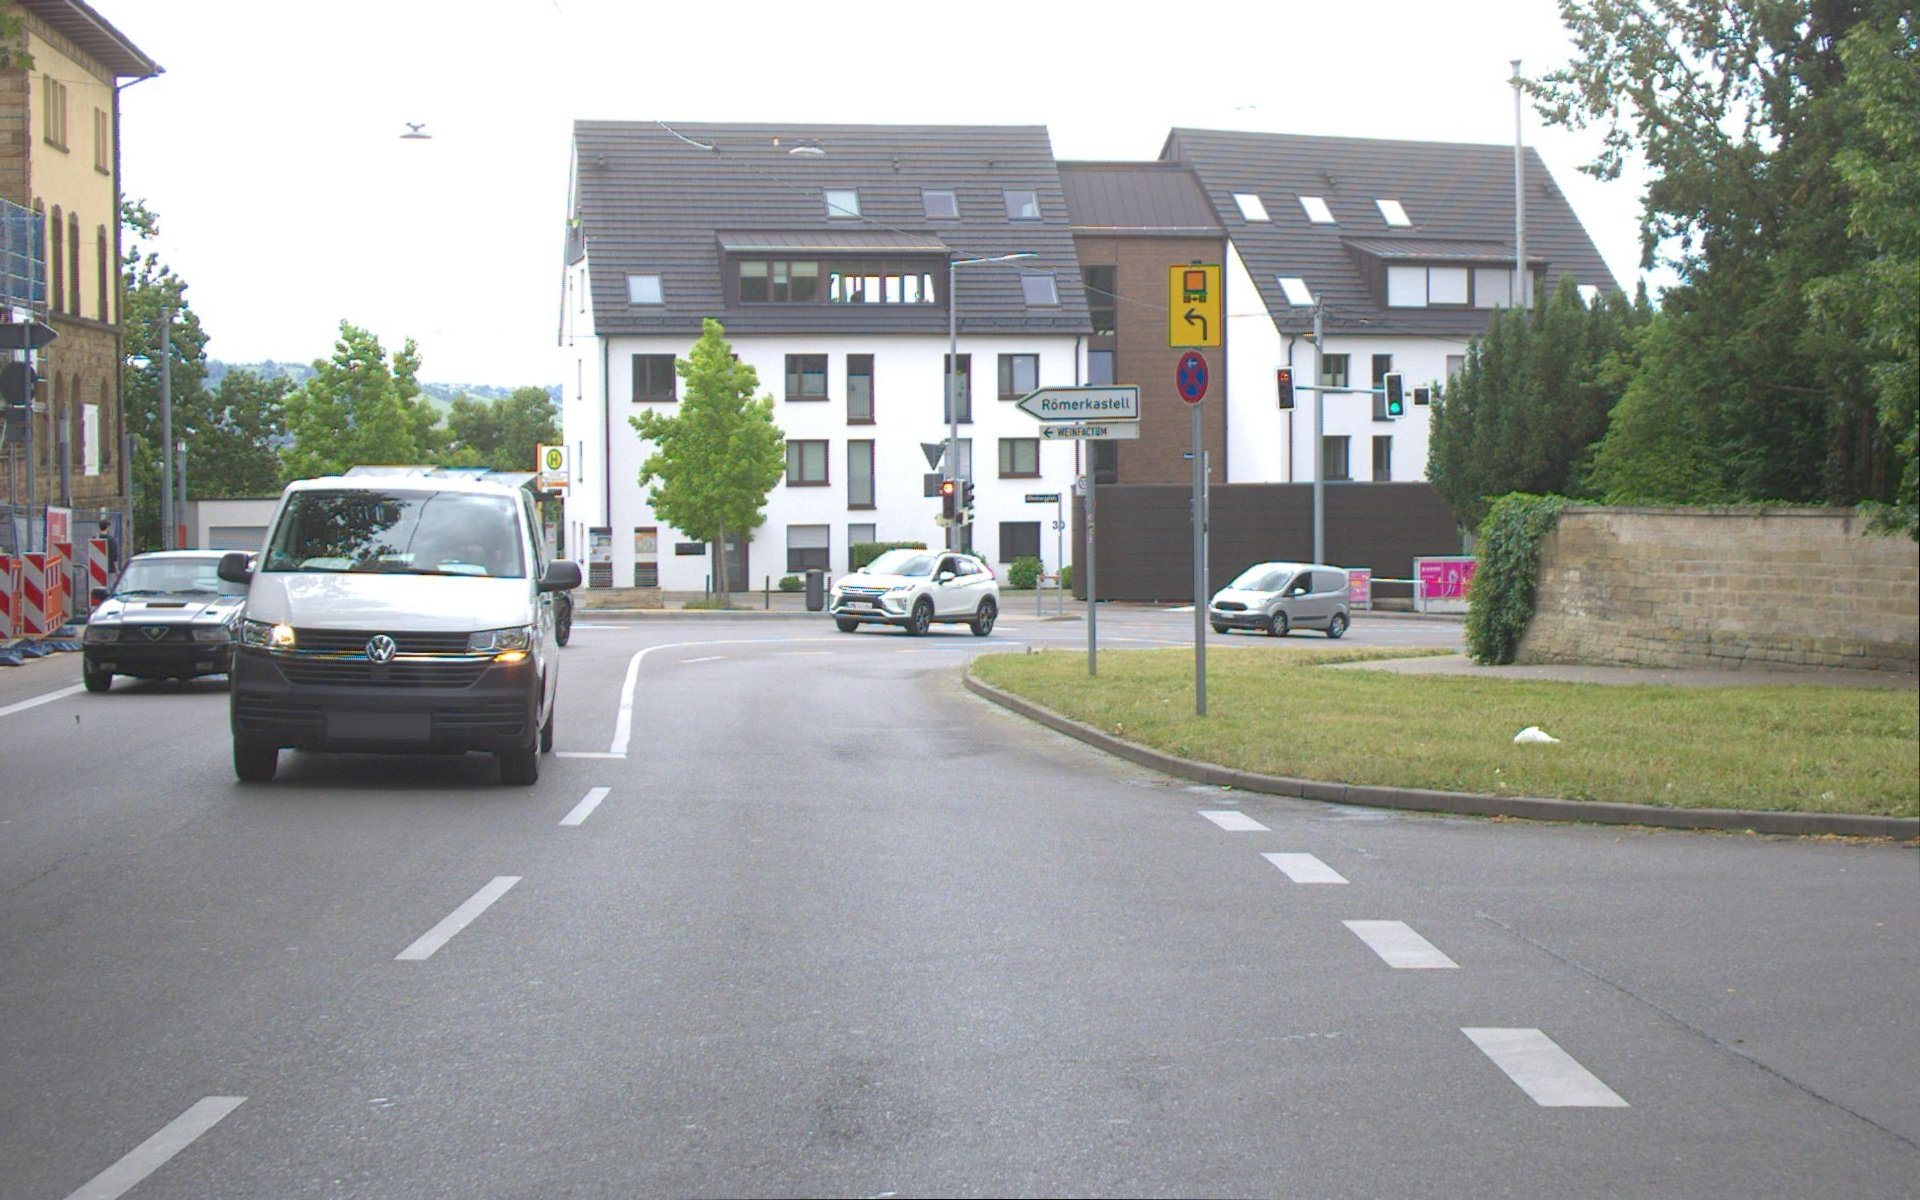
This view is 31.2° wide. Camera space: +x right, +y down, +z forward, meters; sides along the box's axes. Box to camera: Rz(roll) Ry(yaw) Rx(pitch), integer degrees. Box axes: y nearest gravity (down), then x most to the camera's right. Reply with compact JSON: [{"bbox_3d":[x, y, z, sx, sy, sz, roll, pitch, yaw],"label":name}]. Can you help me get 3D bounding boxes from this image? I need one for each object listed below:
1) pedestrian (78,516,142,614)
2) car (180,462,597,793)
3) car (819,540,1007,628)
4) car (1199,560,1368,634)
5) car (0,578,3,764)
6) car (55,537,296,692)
[{"bbox_3d":[-15.235,-0.631,61.629,0.923,1.714,0.798,2,0,-2],"label":"pedestrian"},{"bbox_3d":[-3.651,0.117,22.945,2.204,1.924,5.241,-1,1,-4],"label":"car"},{"bbox_3d":[-0.874,-0.298,67.342,1.794,1.605,4.501,1,-1,27],"label":"car"},{"bbox_3d":[7.545,-0.055,80.032,1.697,1.608,4.072,2,0,44],"label":"car"},{"bbox_3d":[-7.191,0.449,21.282,1.699,1.421,4.250,-1,1,-5],"label":"car"},{"bbox_3d":[-7.966,0.098,35.264,1.801,1.453,4.637,-1,1,-5],"label":"car"}]
